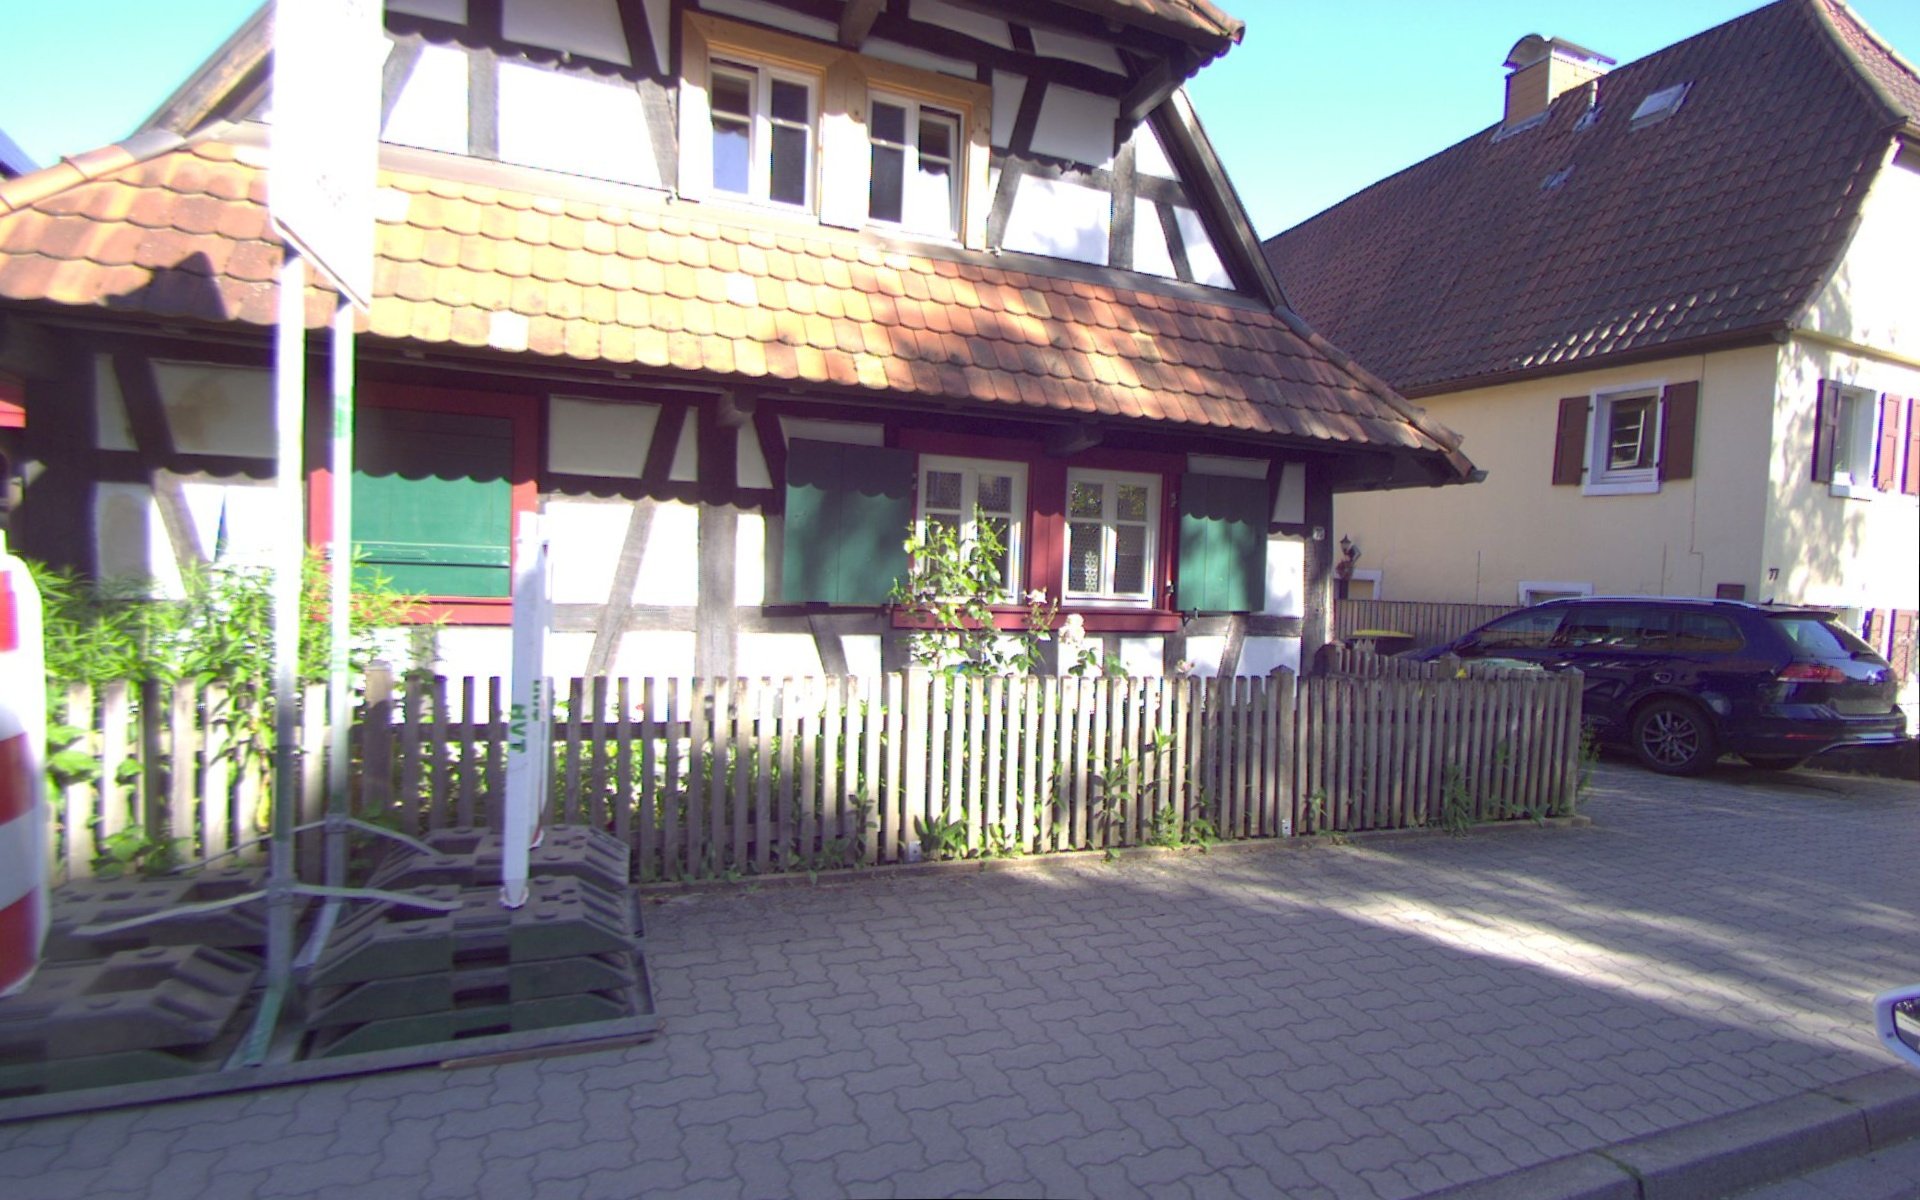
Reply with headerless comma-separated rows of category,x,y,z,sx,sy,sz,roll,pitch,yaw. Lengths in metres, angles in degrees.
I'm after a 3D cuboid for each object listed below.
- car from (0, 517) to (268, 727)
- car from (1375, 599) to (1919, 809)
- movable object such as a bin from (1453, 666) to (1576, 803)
car,-8.012,0.069,9.022,1.787,1.522,3.985,1,2,-17
car,6.242,0.759,9.482,1.824,1.481,4.145,1,0,-25
movable object such as a bin,4.008,0.957,7.287,0.544,0.910,0.585,1,0,-1
